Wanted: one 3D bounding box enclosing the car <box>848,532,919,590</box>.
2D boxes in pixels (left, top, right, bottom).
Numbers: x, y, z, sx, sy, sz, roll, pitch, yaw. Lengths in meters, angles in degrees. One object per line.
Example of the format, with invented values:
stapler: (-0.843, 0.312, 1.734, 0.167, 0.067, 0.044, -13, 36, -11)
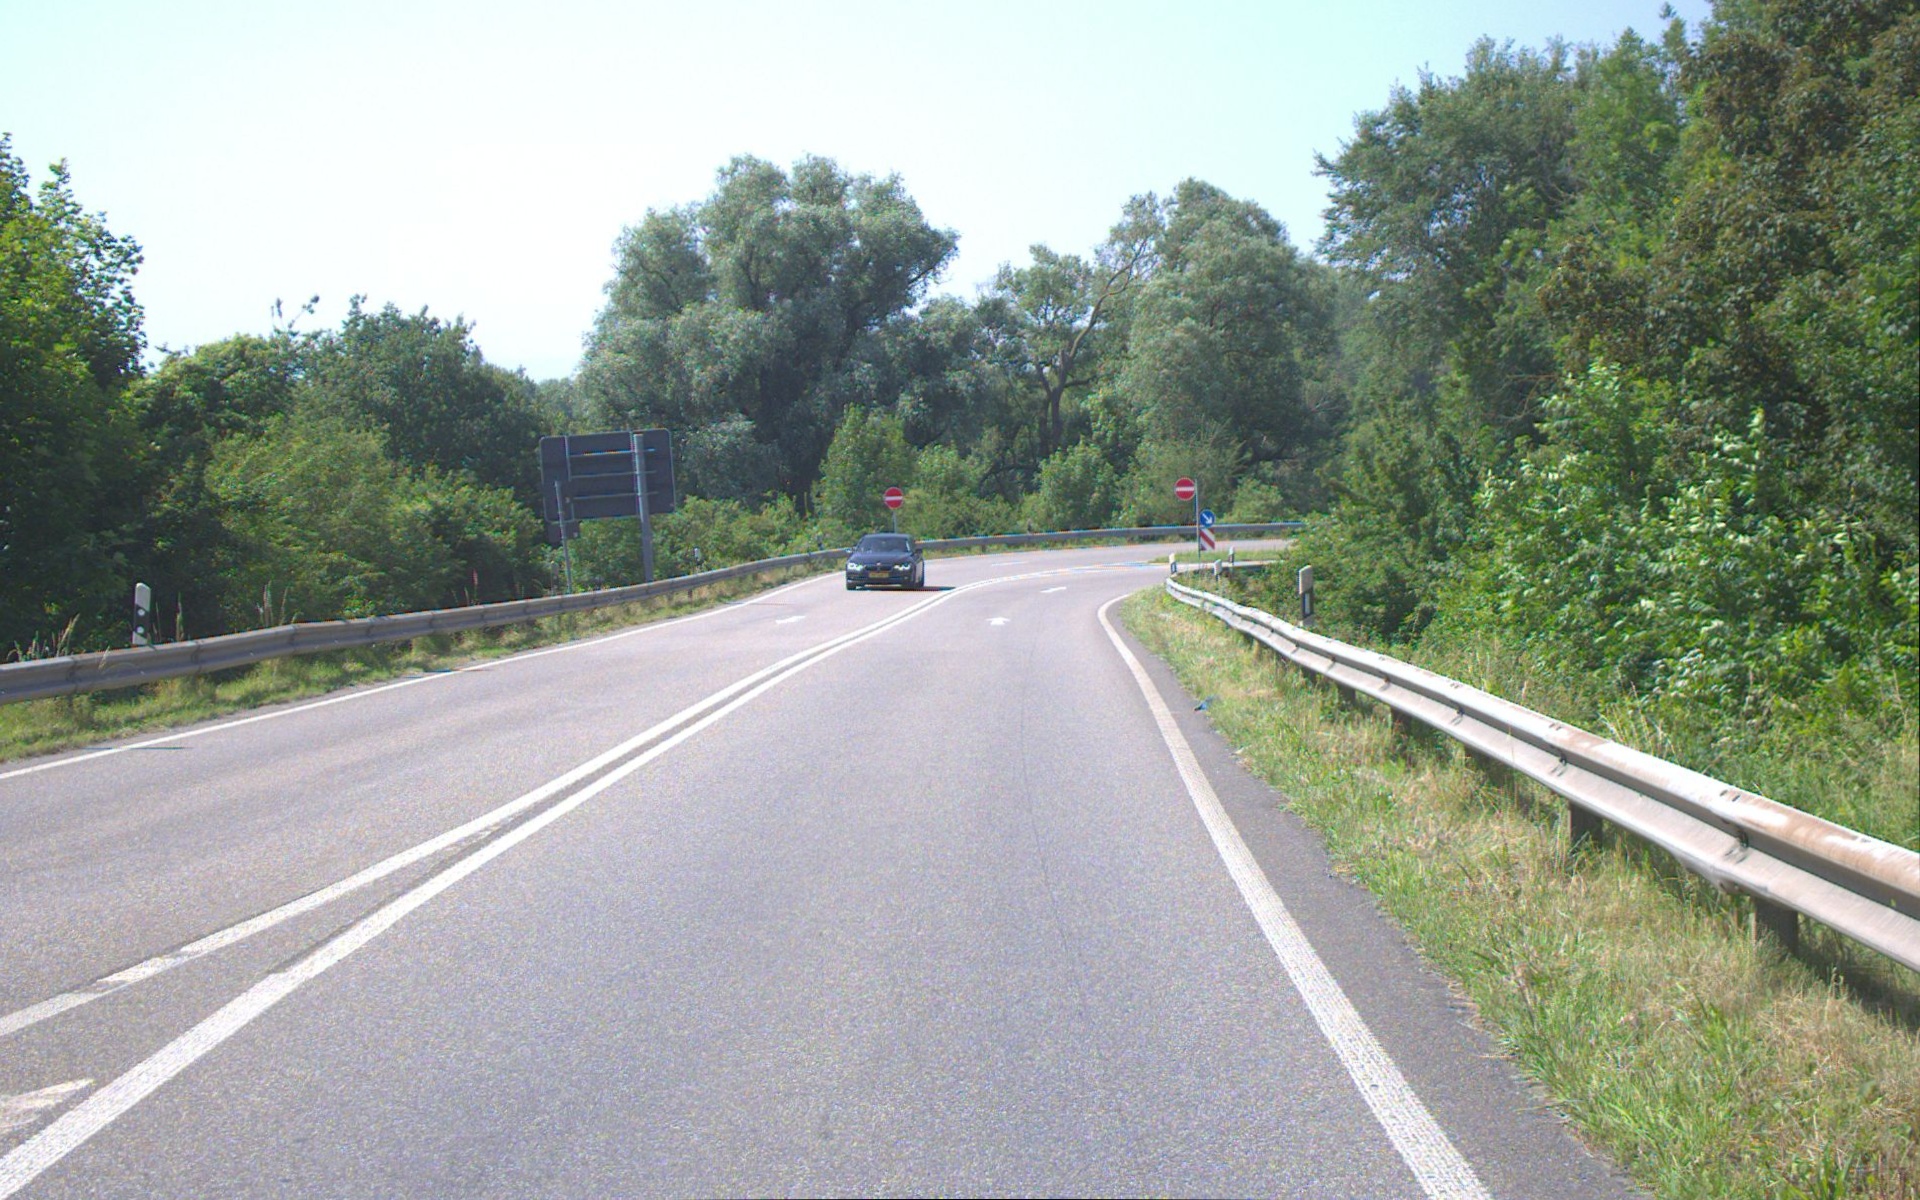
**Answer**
car: (-1.977, -1.030, 89.834, 1.607, 1.468, 4.220, -1, 1, 2)
